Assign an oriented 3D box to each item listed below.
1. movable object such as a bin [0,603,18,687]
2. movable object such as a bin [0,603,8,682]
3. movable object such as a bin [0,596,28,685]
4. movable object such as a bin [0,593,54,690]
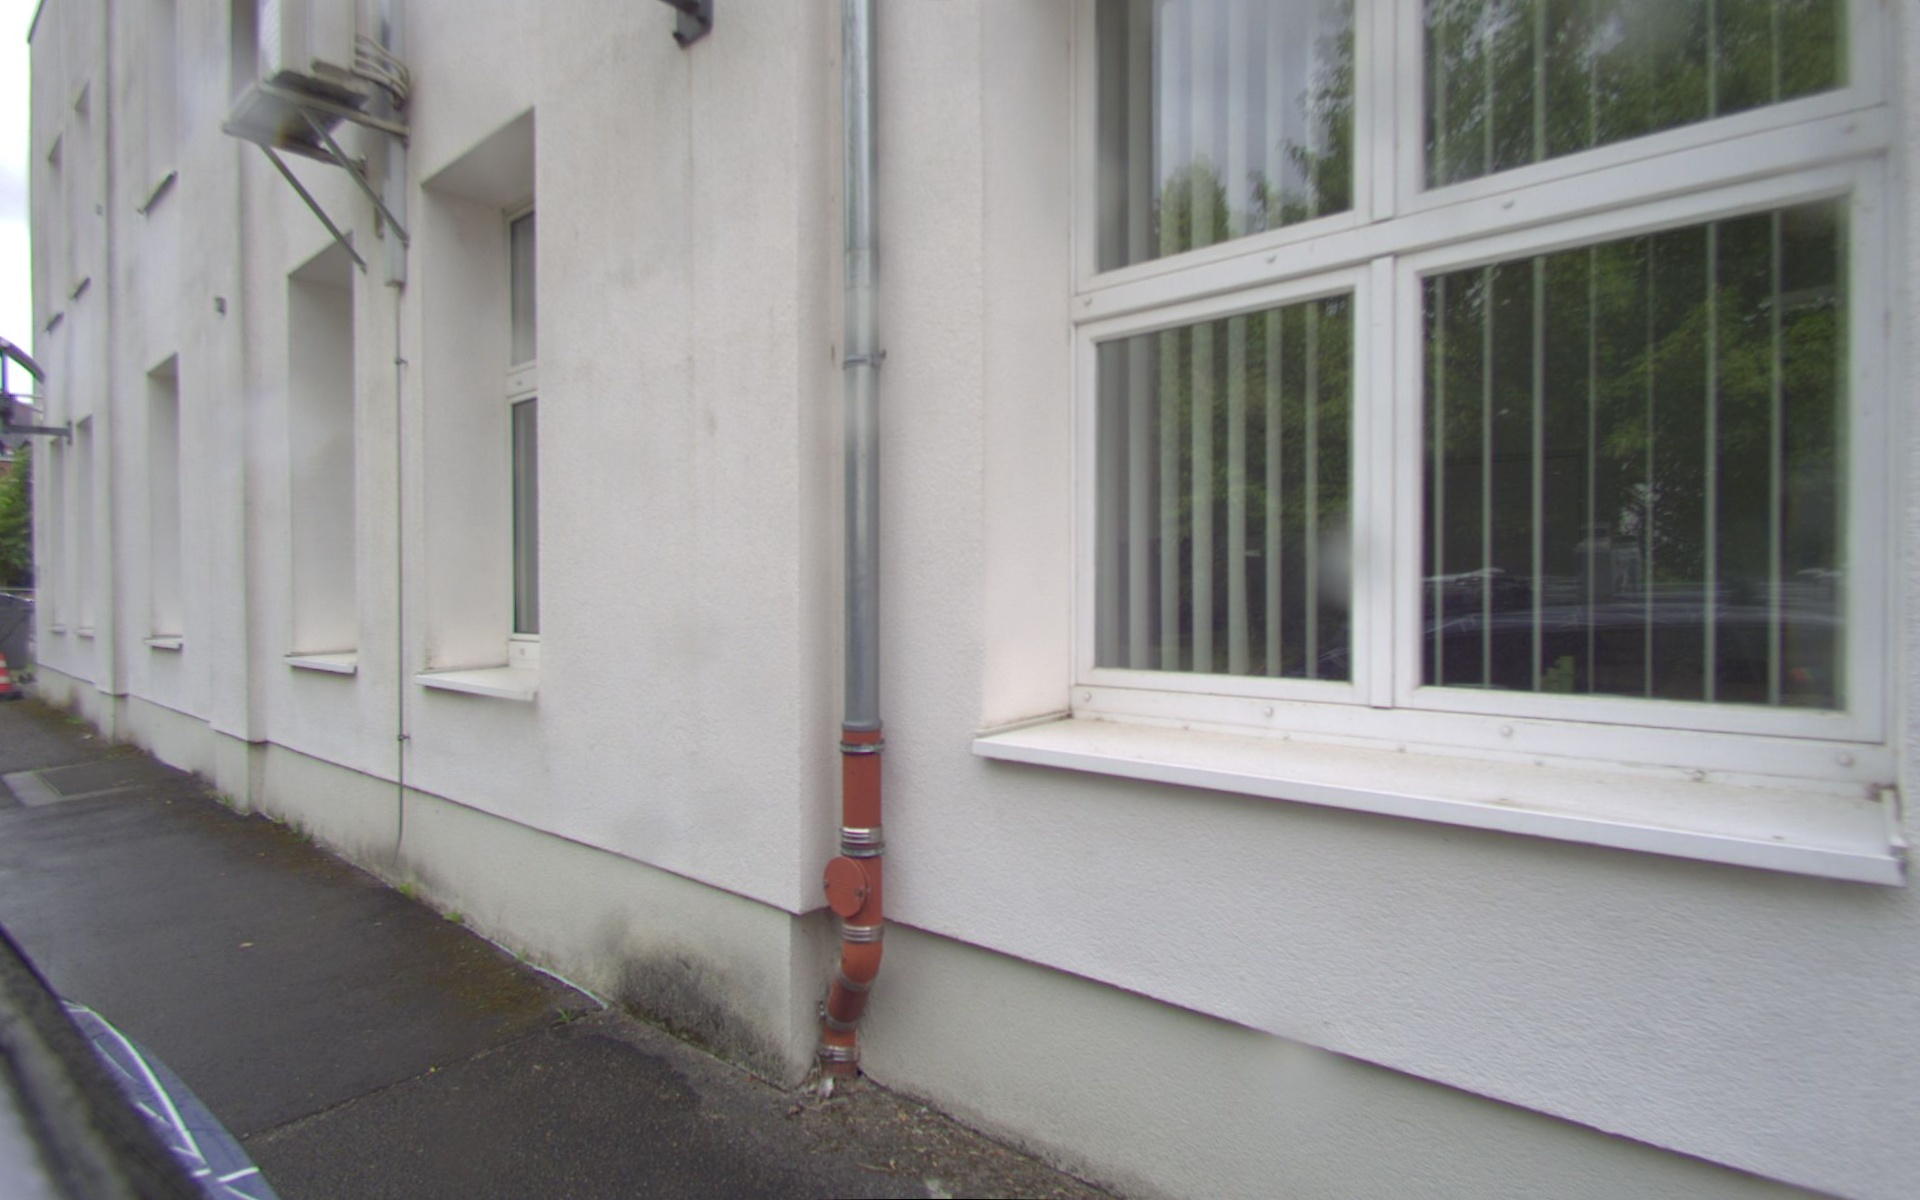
[{"bbox_3d":[-17.780,0.824,17.986,1.351,1.481,1.345,-2,0,41],"label":"movable object such as a bin"},{"bbox_3d":[-18.868,0.831,18.959,1.464,1.481,1.345,-2,0,41],"label":"movable object such as a bin"},{"bbox_3d":[-16.737,0.703,17.051,1.365,1.481,1.345,-2,0,41],"label":"movable object such as a bin"},{"bbox_3d":[-15.371,0.663,16.021,1.365,1.481,1.345,-2,0,41],"label":"movable object such as a bin"}]
